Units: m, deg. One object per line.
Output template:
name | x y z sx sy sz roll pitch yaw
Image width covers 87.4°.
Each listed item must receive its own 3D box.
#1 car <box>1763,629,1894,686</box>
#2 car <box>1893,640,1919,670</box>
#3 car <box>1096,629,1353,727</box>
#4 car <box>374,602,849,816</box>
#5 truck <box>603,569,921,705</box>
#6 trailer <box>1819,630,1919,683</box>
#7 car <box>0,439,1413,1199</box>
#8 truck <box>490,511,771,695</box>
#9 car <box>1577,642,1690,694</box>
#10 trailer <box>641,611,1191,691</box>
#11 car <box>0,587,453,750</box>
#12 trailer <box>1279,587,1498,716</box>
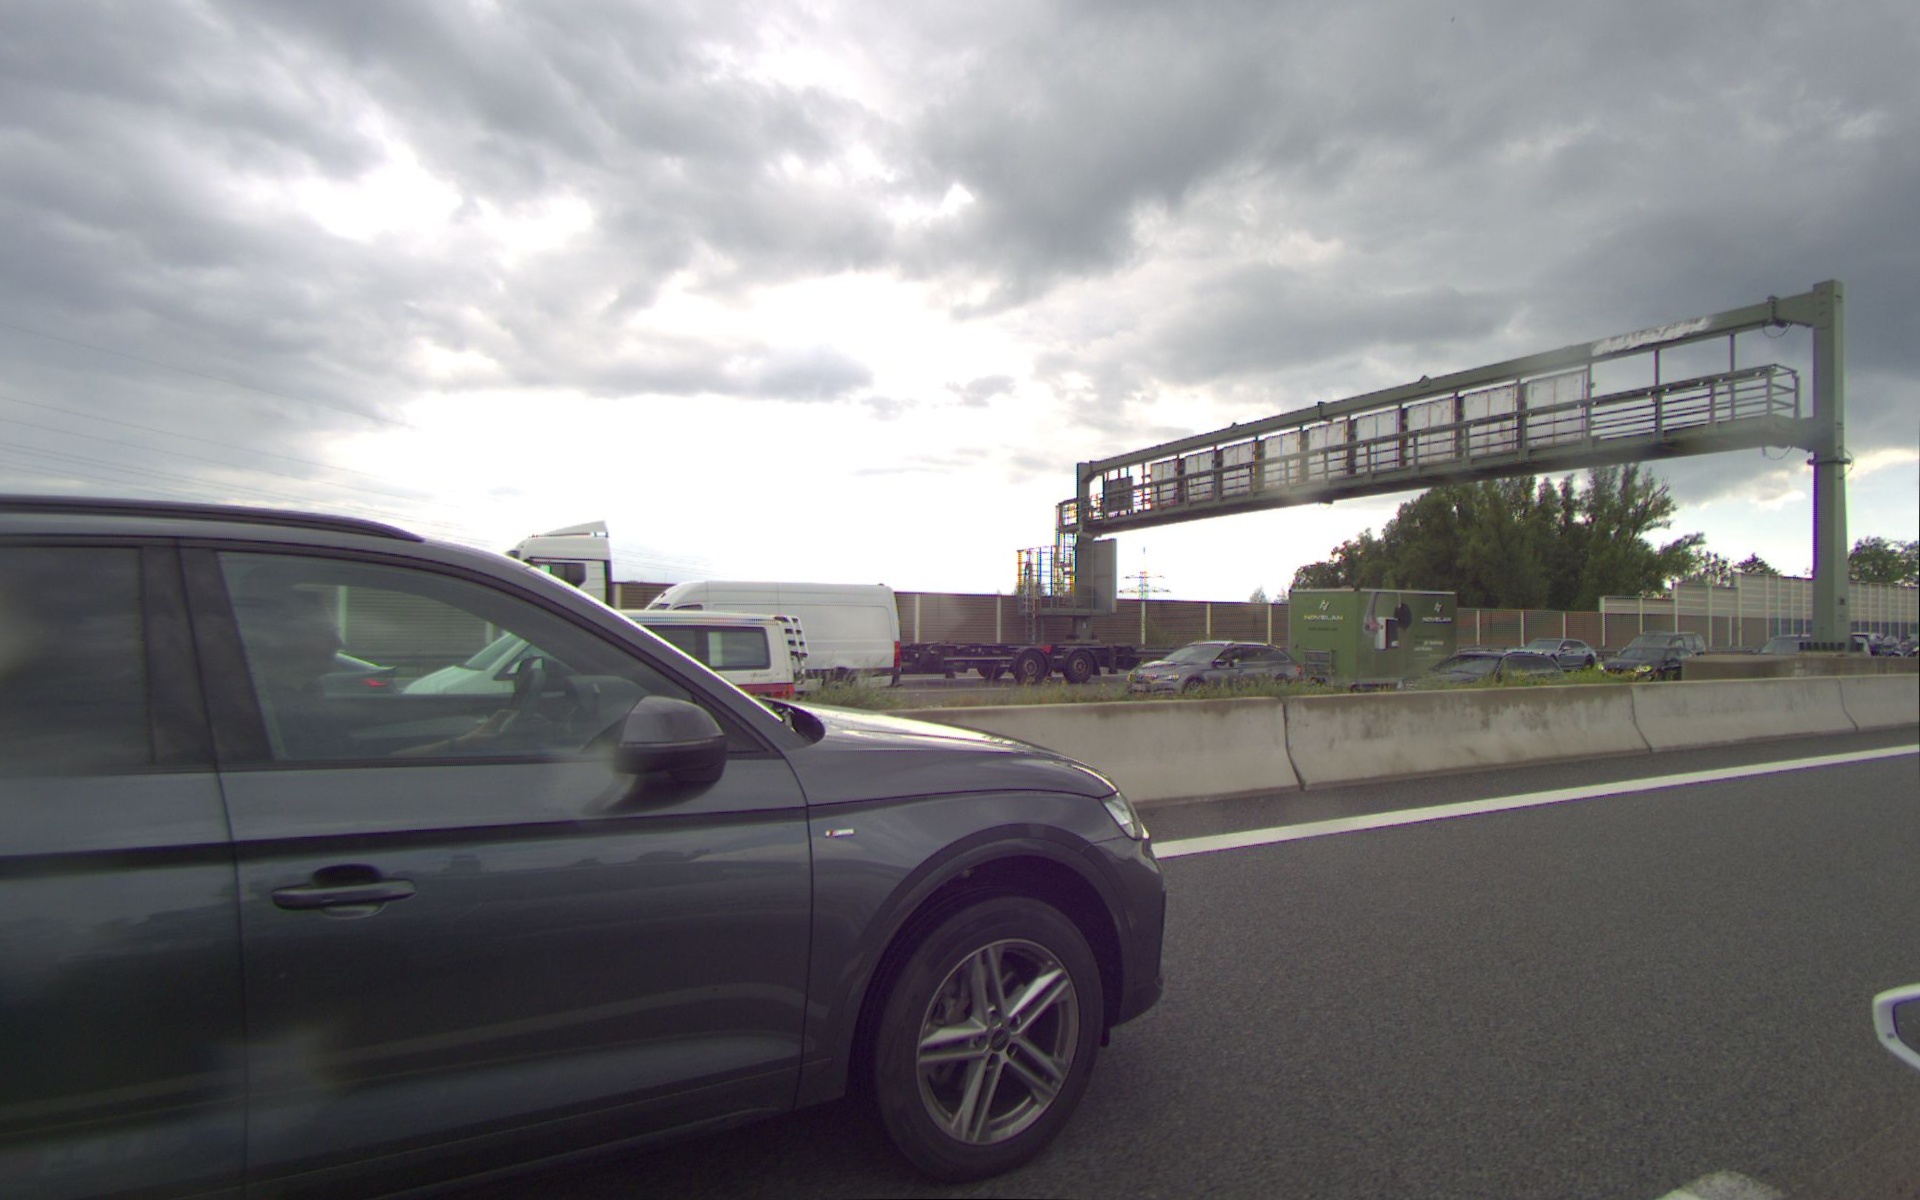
car | 28.536 1.845 32.981 4.750 1.731 1.808 2 -1 -30
car | 54.329 3.081 56.378 4.342 1.652 1.739 1 -1 -31
car | 6.478 1.774 24.339 6.120 2.078 2.438 1 -1 -30
car | -4.391 1.238 13.023 5.448 2.266 2.220 2 -1 -30
truck | -4.228 0.810 22.032 6.483 2.638 2.233 2 -1 -31
trailer | 33.157 1.985 35.730 5.975 1.731 2.134 2 -1 -30
car | -1.171 0.628 2.865 5.107 1.713 1.899 1 -1 -30
truck | -7.860 0.137 24.112 5.979 3.939 2.740 1 -1 -30
car | 22.420 2.210 33.414 3.831 1.598 1.673 1 -1 -31
trailer | -0.453 1.351 28.416 16.155 1.853 2.740 1 -1 -30
car | -10.931 0.978 15.450 5.475 2.142 2.233 2 -1 -30
trailer | 11.732 1.345 27.395 5.979 3.180 2.438 1 -1 -30
